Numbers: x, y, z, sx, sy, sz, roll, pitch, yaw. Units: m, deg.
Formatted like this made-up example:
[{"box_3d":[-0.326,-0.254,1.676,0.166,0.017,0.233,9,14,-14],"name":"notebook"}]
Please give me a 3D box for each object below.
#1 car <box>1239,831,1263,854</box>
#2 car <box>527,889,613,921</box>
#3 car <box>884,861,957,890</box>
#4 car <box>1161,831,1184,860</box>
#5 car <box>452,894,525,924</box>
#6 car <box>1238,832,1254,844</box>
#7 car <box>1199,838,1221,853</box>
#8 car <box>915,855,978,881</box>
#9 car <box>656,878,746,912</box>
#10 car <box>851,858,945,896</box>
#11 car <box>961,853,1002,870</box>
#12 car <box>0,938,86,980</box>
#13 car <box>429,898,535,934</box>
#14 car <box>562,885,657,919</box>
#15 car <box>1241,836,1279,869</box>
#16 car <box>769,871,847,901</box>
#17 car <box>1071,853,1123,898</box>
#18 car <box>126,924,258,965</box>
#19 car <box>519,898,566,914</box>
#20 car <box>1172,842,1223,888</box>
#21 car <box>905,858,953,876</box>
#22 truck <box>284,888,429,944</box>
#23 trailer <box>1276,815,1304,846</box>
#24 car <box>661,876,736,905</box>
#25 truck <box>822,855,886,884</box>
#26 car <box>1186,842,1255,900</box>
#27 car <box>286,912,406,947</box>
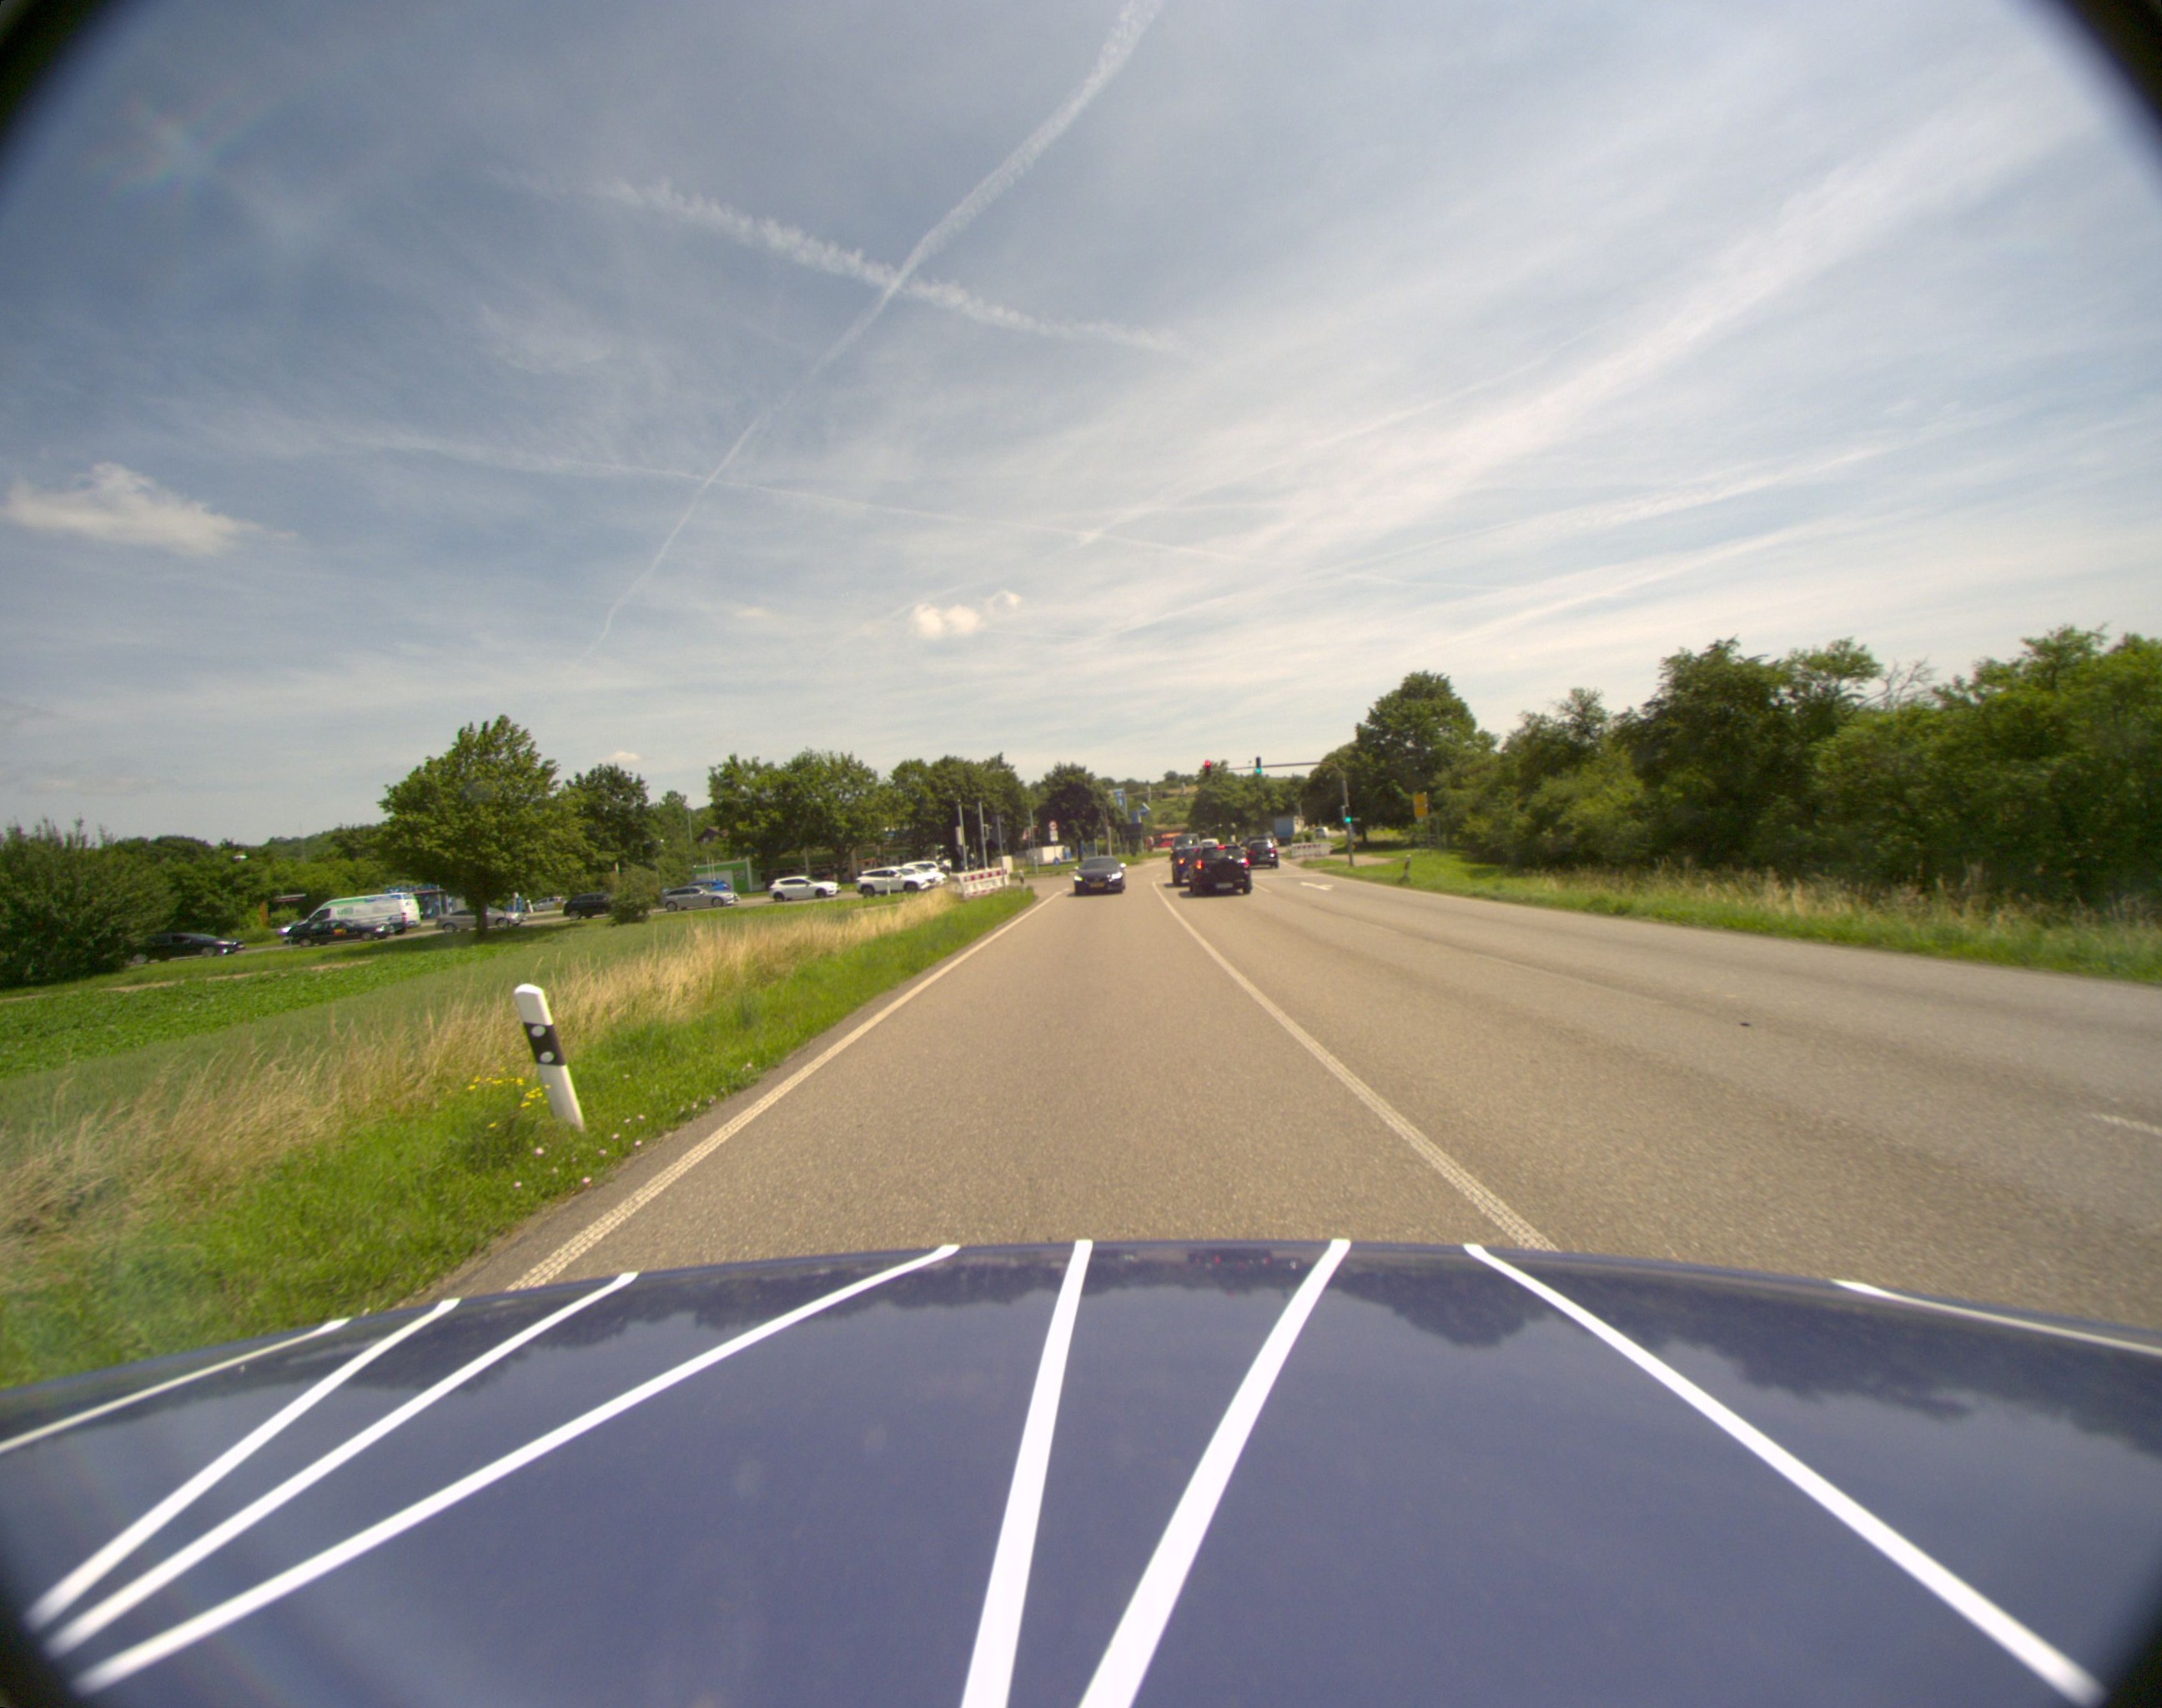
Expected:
[{"box_3d":[16.081,-1.104,71.843,1.997,1.994,5.168,-3,1,13],"name":"car"},{"box_3d":[-35.285,3.497,52.592,4.530,1.682,1.863,-5,2,-20],"name":"car"},{"box_3d":[-10.038,1.330,47.505,3.965,1.411,1.829,-4,2,15],"name":"car"},{"box_3d":[8.966,-0.859,74.039,1.979,2.505,4.158,-4,2,8],"name":"car"},{"box_3d":[-46.997,4.365,60.384,4.002,1.814,1.820,-5,2,-17],"name":"car"},{"box_3d":[24.920,-2.427,114.618,1.807,1.722,4.005,-4,0,21],"name":"car"},{"box_3d":[14.855,-0.974,87.459,1.781,1.485,4.161,-3,2,18],"name":"car"},{"box_3d":[-10.787,1.097,60.961,4.532,1.682,1.862,-5,3,-29],"name":"car"},{"box_3d":[-23.827,2.559,47.787,4.560,1.502,1.799,-6,2,-4],"name":"car"},{"box_3d":[-10.330,1.315,43.074,4.633,1.599,1.999,-5,3,14],"name":"car"},{"box_3d":[-11.892,0.899,91.019,1.994,1.613,4.637,-2,3,42],"name":"car"},{"box_3d":[-55.172,5.529,39.088,4.294,1.688,1.996,-5,2,-20],"name":"car"},{"box_3d":[-35.885,3.702,45.662,4.563,1.502,1.798,-5,2,-15],"name":"car"},{"box_3d":[-29.422,2.969,47.539,4.560,1.502,1.799,-5,3,-4],"name":"car"},{"box_3d":[10.612,-0.116,44.949,1.996,1.686,4.003,-3,1,15],"name":"car"},{"box_3d":[-17.084,1.983,47.628,4.102,1.411,1.800,-4,2,1],"name":"car"},{"box_3d":[0.638,0.765,29.312,1.783,1.484,4.157,-4,0,2],"name":"car"},{"box_3d":[-48.615,4.911,41.686,4.236,1.502,1.797,-6,2,-23],"name":"car"},{"box_3d":[-59.366,5.734,83.823,3.843,1.372,1.726,-5,1,-16],"name":"car"},{"box_3d":[4.781,0.396,31.647,1.775,1.649,4.000,-3,1,5],"name":"car"},{"box_3d":[-16.968,1.426,85.271,2.033,1.594,4.948,-2,3,42],"name":"car"},{"box_3d":[-44.572,3.741,46.936,5.947,2.722,2.069,-4,3,-20],"name":"truck"},{"box_3d":[29.891,-3.311,108.379,2.569,4.007,13.610,-3,1,20],"name":"trailer"},{"box_3d":[-26.611,2.551,53.008,4.390,1.549,1.782,-5,1,-18],"name":"car"},{"box_3d":[-24.556,1.643,82.437,2.257,2.603,6.159,-4,2,40],"name":"truck"},{"box_3d":[4.557,0.494,25.258,1.775,1.649,4.000,-3,1,5],"name":"car"},{"box_3d":[-42.456,4.322,44.009,4.565,1.266,1.797,-6,2,-21],"name":"car"}]
